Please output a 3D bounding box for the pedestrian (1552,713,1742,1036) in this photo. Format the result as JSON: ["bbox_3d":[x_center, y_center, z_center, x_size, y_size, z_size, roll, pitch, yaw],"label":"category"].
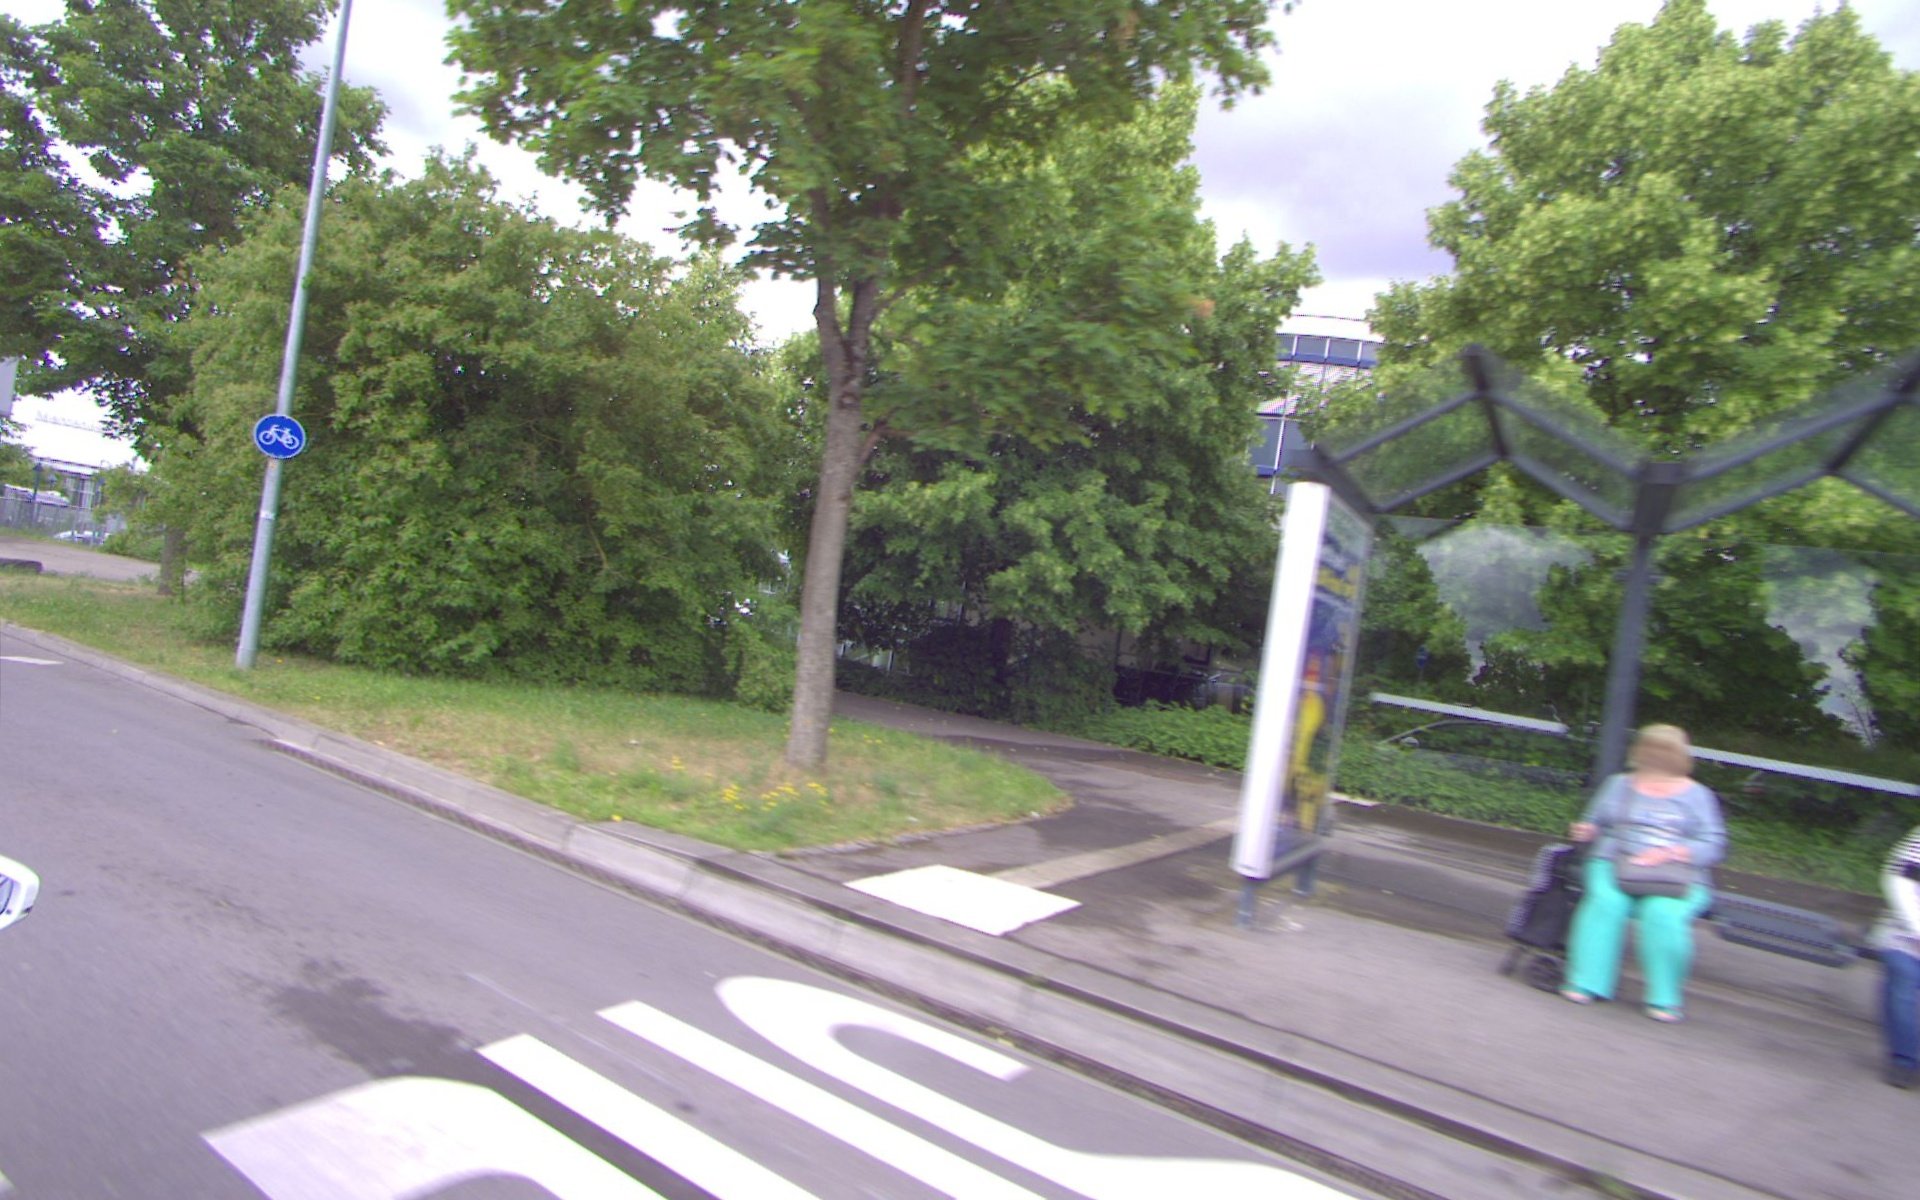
[{"bbox_3d":[3.325,1.266,4.883,0.580,1.331,0.729,7,-2,36],"label":"pedestrian"}]

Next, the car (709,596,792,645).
[{"bbox_3d":[-12.627,1.219,60.681,4.354,2.341,2.008,3,-13,30],"label":"car"}]

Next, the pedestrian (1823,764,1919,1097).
[{"bbox_3d":[4.248,1.392,4.040,0.759,1.267,0.775,8,-1,-8],"label":"pedestrian"}]

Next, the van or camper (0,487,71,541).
[{"bbox_3d":[-60.021,-5.606,64.904,6.806,2.902,1.968,6,-1,32],"label":"van or camper"}]
